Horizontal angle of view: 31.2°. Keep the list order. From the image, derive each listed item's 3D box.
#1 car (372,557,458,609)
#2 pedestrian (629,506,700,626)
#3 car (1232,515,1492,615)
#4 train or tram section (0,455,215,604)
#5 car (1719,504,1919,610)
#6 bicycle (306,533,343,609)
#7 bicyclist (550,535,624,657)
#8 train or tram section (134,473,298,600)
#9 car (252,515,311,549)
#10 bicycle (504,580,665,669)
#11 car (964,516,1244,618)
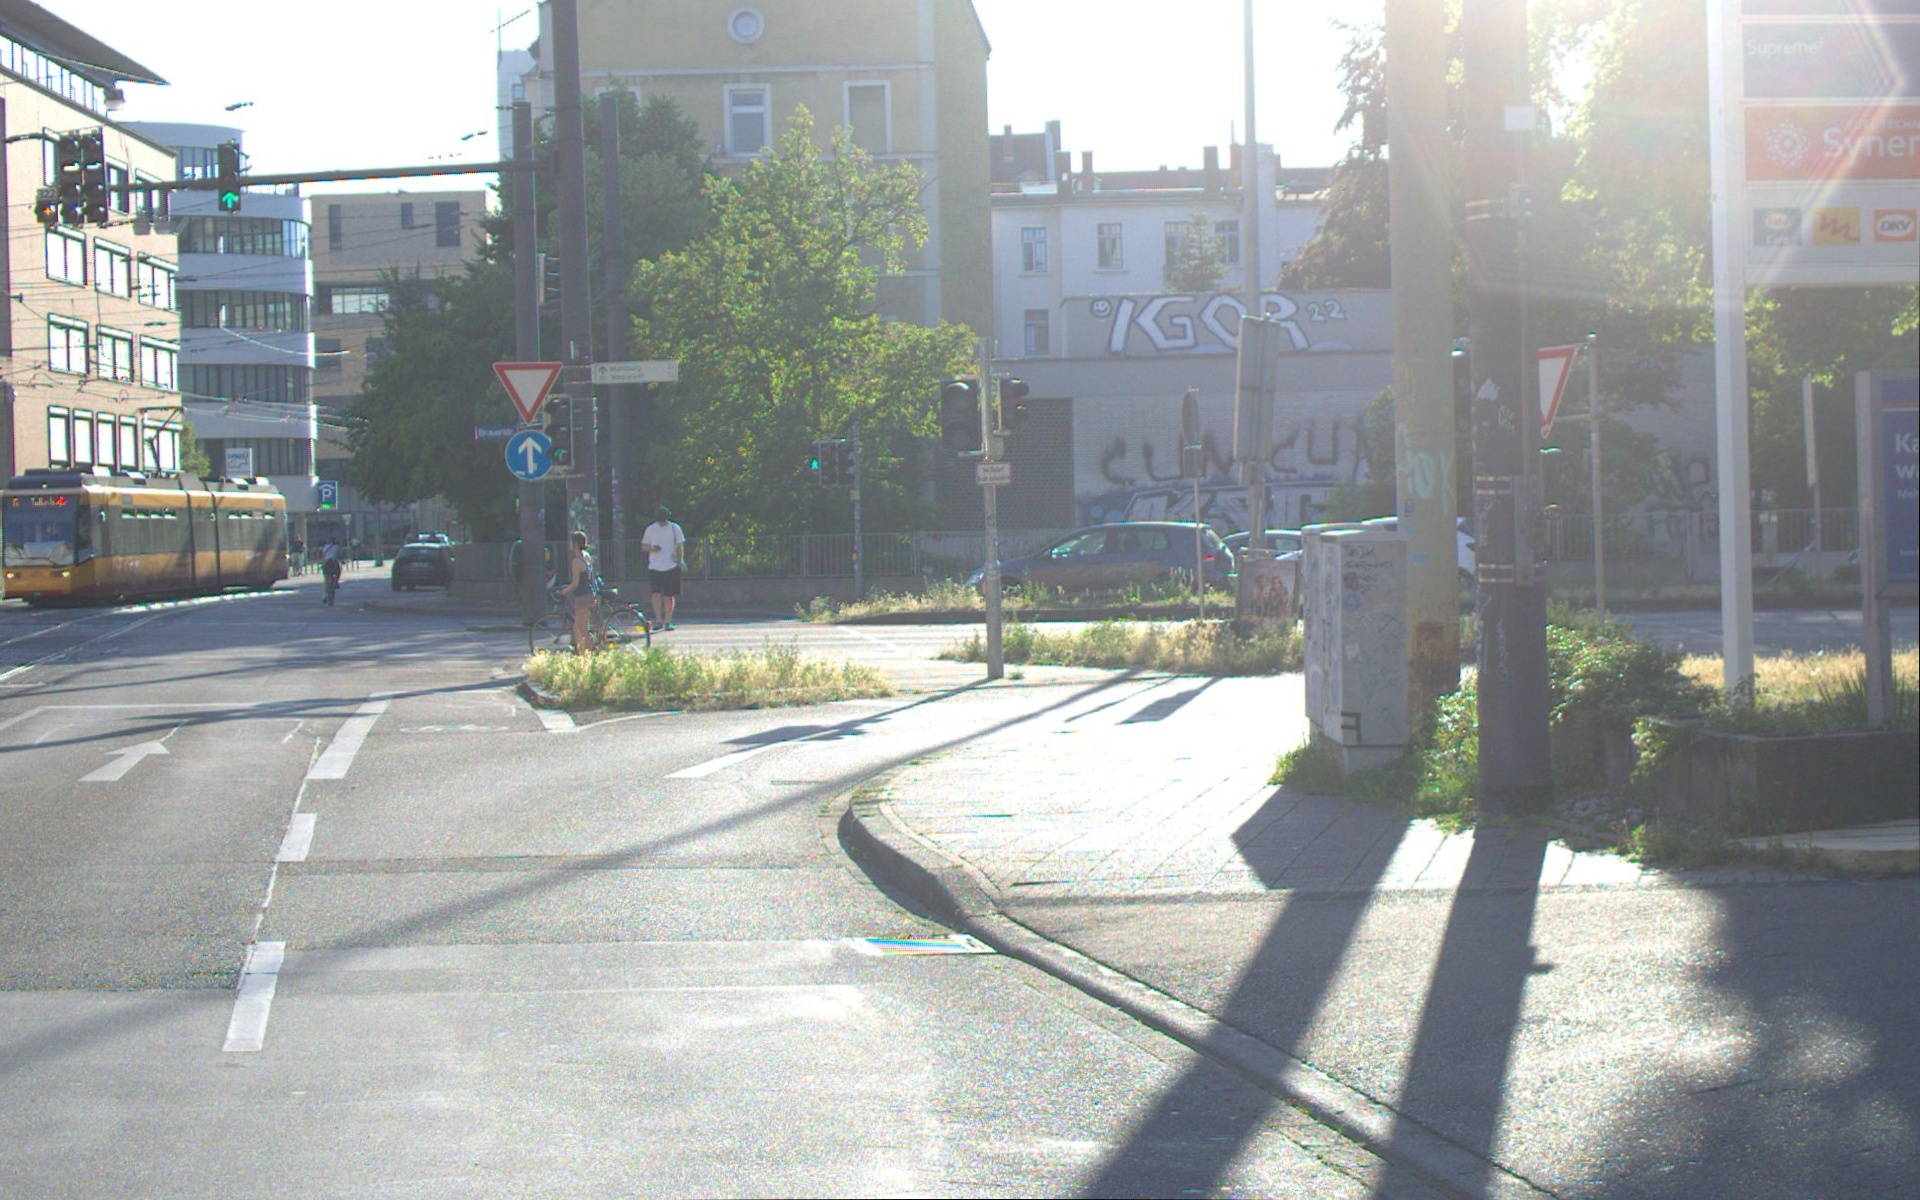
[{"bbox_3d":[-16.365,-0.525,103.374,1.993,1.459,4.000,-2,1,-1],"label":"car"},{"bbox_3d":[-4.260,-0.495,49.622,0.926,1.686,0.778,-1,1,-1],"label":"pedestrian"},{"bbox_3d":[6.509,-0.568,55.586,3.989,1.502,1.672,-1,1,13],"label":"car"},{"bbox_3d":[-22.430,-1.852,90.869,2.241,3.562,14.277,-2,1,0],"label":"train or tram section"},{"bbox_3d":[13.092,-0.645,49.868,3.989,1.448,1.686,-1,1,11],"label":"car"},{"bbox_3d":[-15.173,-0.702,82.134,0.565,1.800,1.358,-1,1,1],"label":"bicycle"},{"bbox_3d":[-4.373,-0.049,40.311,0.804,1.409,0.624,-2,0,-4],"label":"bicyclist"},{"bbox_3d":[-22.361,-1.930,104.055,2.222,3.567,12.209,-1,1,0],"label":"train or tram section"},{"bbox_3d":[-29.577,-2.969,149.899,1.794,1.405,4.000,-2,1,-1],"label":"car"},{"bbox_3d":[-4.392,0.282,40.296,1.832,0.981,0.734,-2,1,-4],"label":"bicycle"},{"bbox_3d":[2.233,-0.511,52.816,3.989,1.448,1.809,-1,1,14],"label":"car"}]
